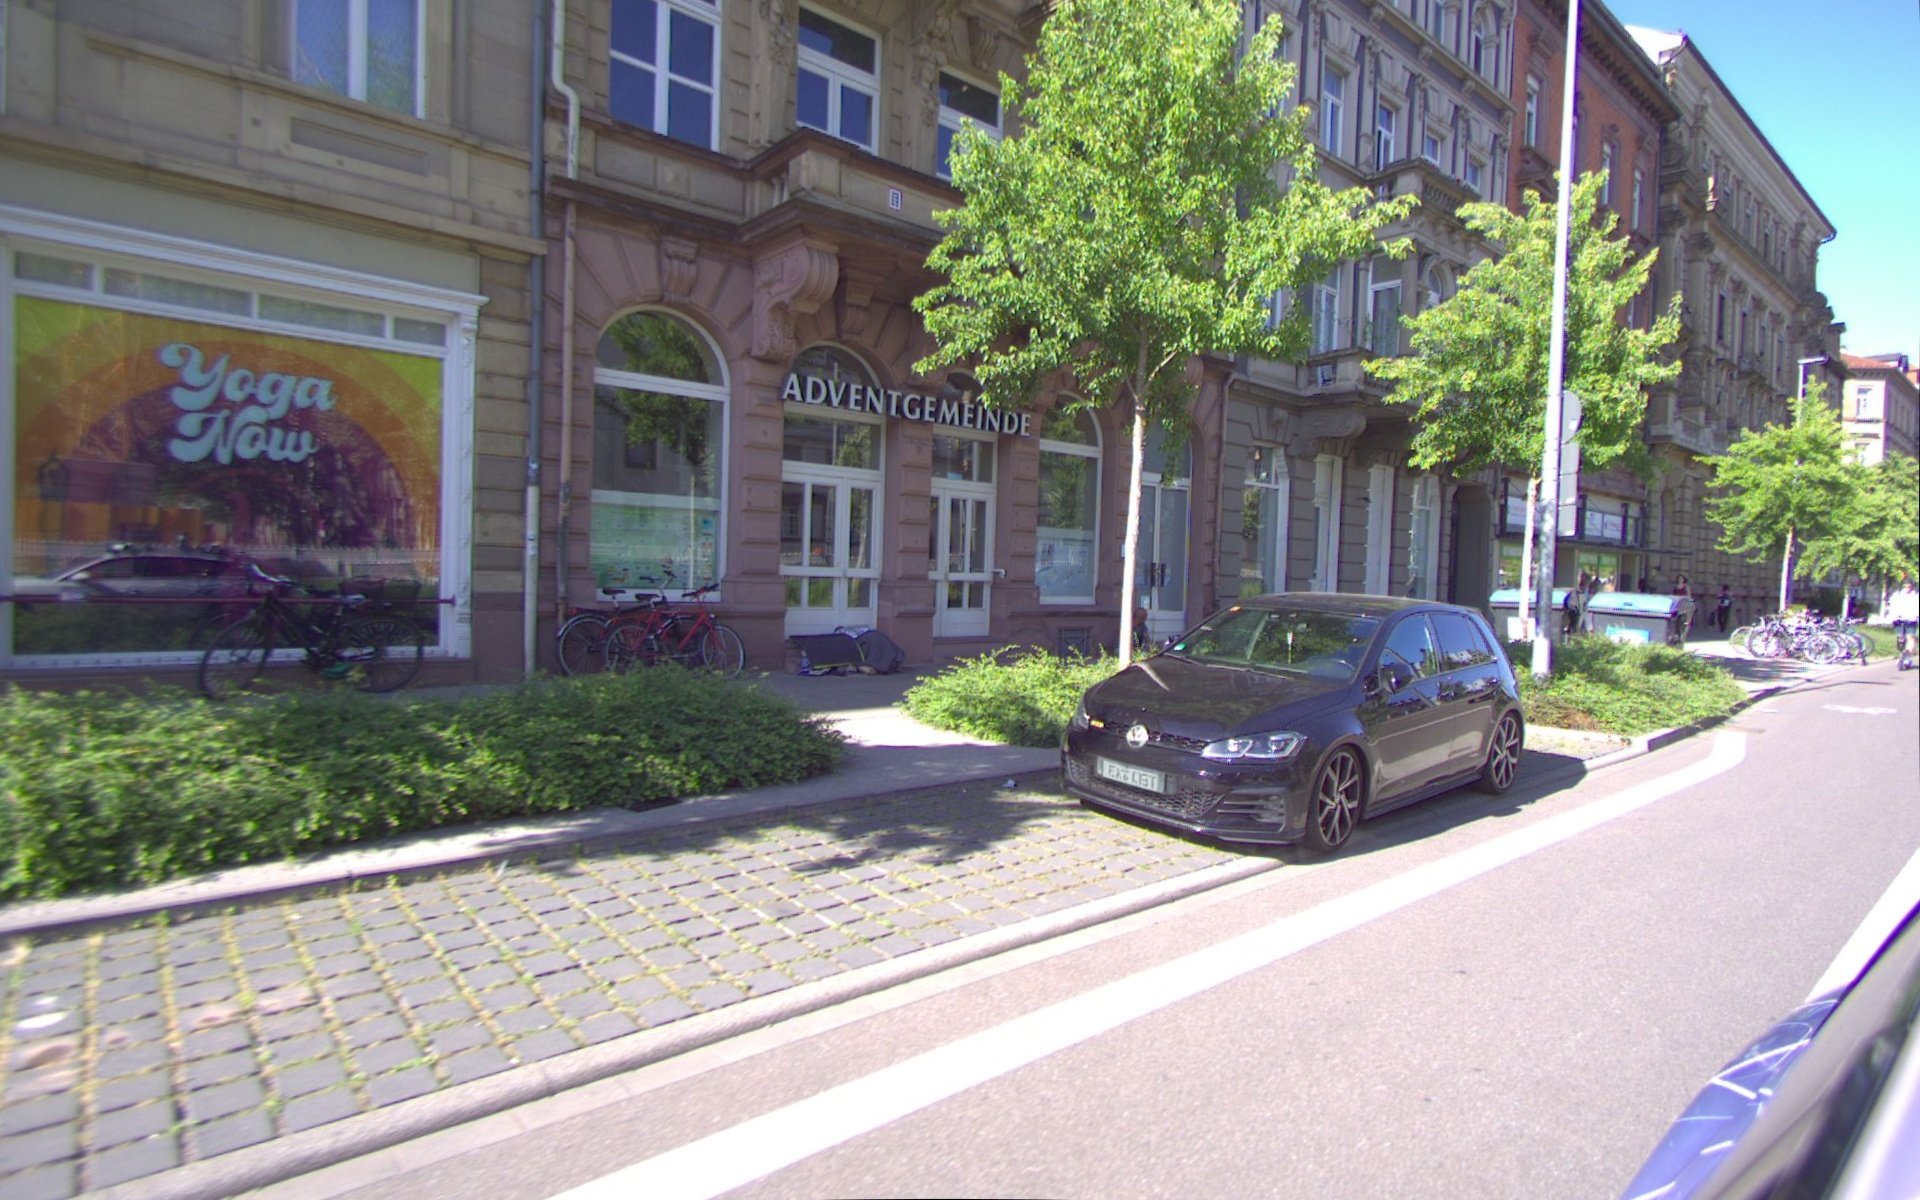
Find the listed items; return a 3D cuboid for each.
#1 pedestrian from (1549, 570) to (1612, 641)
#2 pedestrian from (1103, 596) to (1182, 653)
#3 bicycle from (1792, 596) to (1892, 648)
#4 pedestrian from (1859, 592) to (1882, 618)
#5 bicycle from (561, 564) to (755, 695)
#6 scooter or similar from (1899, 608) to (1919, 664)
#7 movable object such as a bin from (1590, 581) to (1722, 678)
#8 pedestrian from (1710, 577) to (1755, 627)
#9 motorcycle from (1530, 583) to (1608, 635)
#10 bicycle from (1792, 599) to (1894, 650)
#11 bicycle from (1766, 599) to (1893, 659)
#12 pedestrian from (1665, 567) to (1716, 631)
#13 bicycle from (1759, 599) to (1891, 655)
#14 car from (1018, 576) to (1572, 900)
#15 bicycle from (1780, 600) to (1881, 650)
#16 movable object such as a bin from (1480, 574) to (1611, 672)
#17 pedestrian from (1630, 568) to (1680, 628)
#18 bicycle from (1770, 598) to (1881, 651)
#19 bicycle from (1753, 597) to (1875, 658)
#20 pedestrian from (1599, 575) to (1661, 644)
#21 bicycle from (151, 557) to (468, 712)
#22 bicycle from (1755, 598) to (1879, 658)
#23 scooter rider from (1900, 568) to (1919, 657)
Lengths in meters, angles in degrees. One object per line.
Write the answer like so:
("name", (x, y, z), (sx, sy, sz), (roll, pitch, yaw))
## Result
("pedestrian", (15.175, 0.134, 24.758), (0.975, 1.659, 0.973), (1, 2, -40))
("pedestrian", (2.829, 0.358, 15.643), (0.867, 0.828, 0.968), (1, 1, 36))
("bicycle", (22.363, 0.549, 25.693), (0.367, 1.193, 1.869), (-1, 3, -42))
("pedestrian", (44.594, 0.236, 49.565), (0.866, 1.197, 0.719), (-1, 2, -41))
("bicycle", (-3.102, 0.259, 10.475), (1.769, 1.215, 0.749), (-1, 3, -41))
("scooter or similar", (20.857, 0.766, 21.893), (1.130, 1.173, 0.646), (0, 1, -40))
("movable object such as a bin", (11.286, 0.467, 16.414), (1.612, 1.482, 1.275), (3, -1, -36))
("pedestrian", (27.373, 0.052, 35.872), (1.094, 1.712, 0.972), (0, 4, -41))
("motorcycle", (16.018, 0.201, 26.584), (2.930, 1.282, 0.867), (-1, 3, -41))
("bicycle", (22.612, 0.603, 25.938), (0.509, 1.122, 1.893), (-1, 4, -45))
("bicycle", (20.267, 0.651, 23.646), (2.142, 1.168, 0.424), (6, 4, 37))
("pedestrian", (22.826, -0.045, 31.623), (1.077, 1.943, 0.893), (0, 3, -35))
("bicycle", (20.438, 0.623, 23.972), (2.279, 1.115, 0.480), (5, 4, 36))
("car", (2.572, 0.629, 7.102), (4.374, 1.494, 1.769), (-1, 5, -43))
("bicycle", (21.491, 0.607, 25.024), (1.816, 1.068, 0.562), (5, 4, 45))
("movable object such as a bin", (10.139, 0.355, 17.536), (1.718, 1.513, 1.377), (-1, 5, -39))
("pedestrian", (21.489, -0.055, 31.298), (0.885, 1.756, 0.850), (1, 5, -34))
("bicycle", (21.208, 0.577, 24.836), (0.428, 1.121, 1.980), (-1, 4, -42))
("bicycle", (19.136, 0.590, 22.716), (0.474, 1.137, 1.977), (1, 5, -45))
("pedestrian", (16.275, 0.225, 24.583), (1.061, 1.586, 0.952), (2, 2, -41))
("bicycle", (-5.494, 0.241, 8.643), (2.145, 1.118, 0.877), (0, 5, -43))
("bicycle", (19.433, 0.614, 22.985), (2.045, 1.120, 0.601), (7, 5, 44))
("scooter rider", (20.868, 0.271, 21.904), (0.882, 1.890, 0.662), (0, 0, -40))
